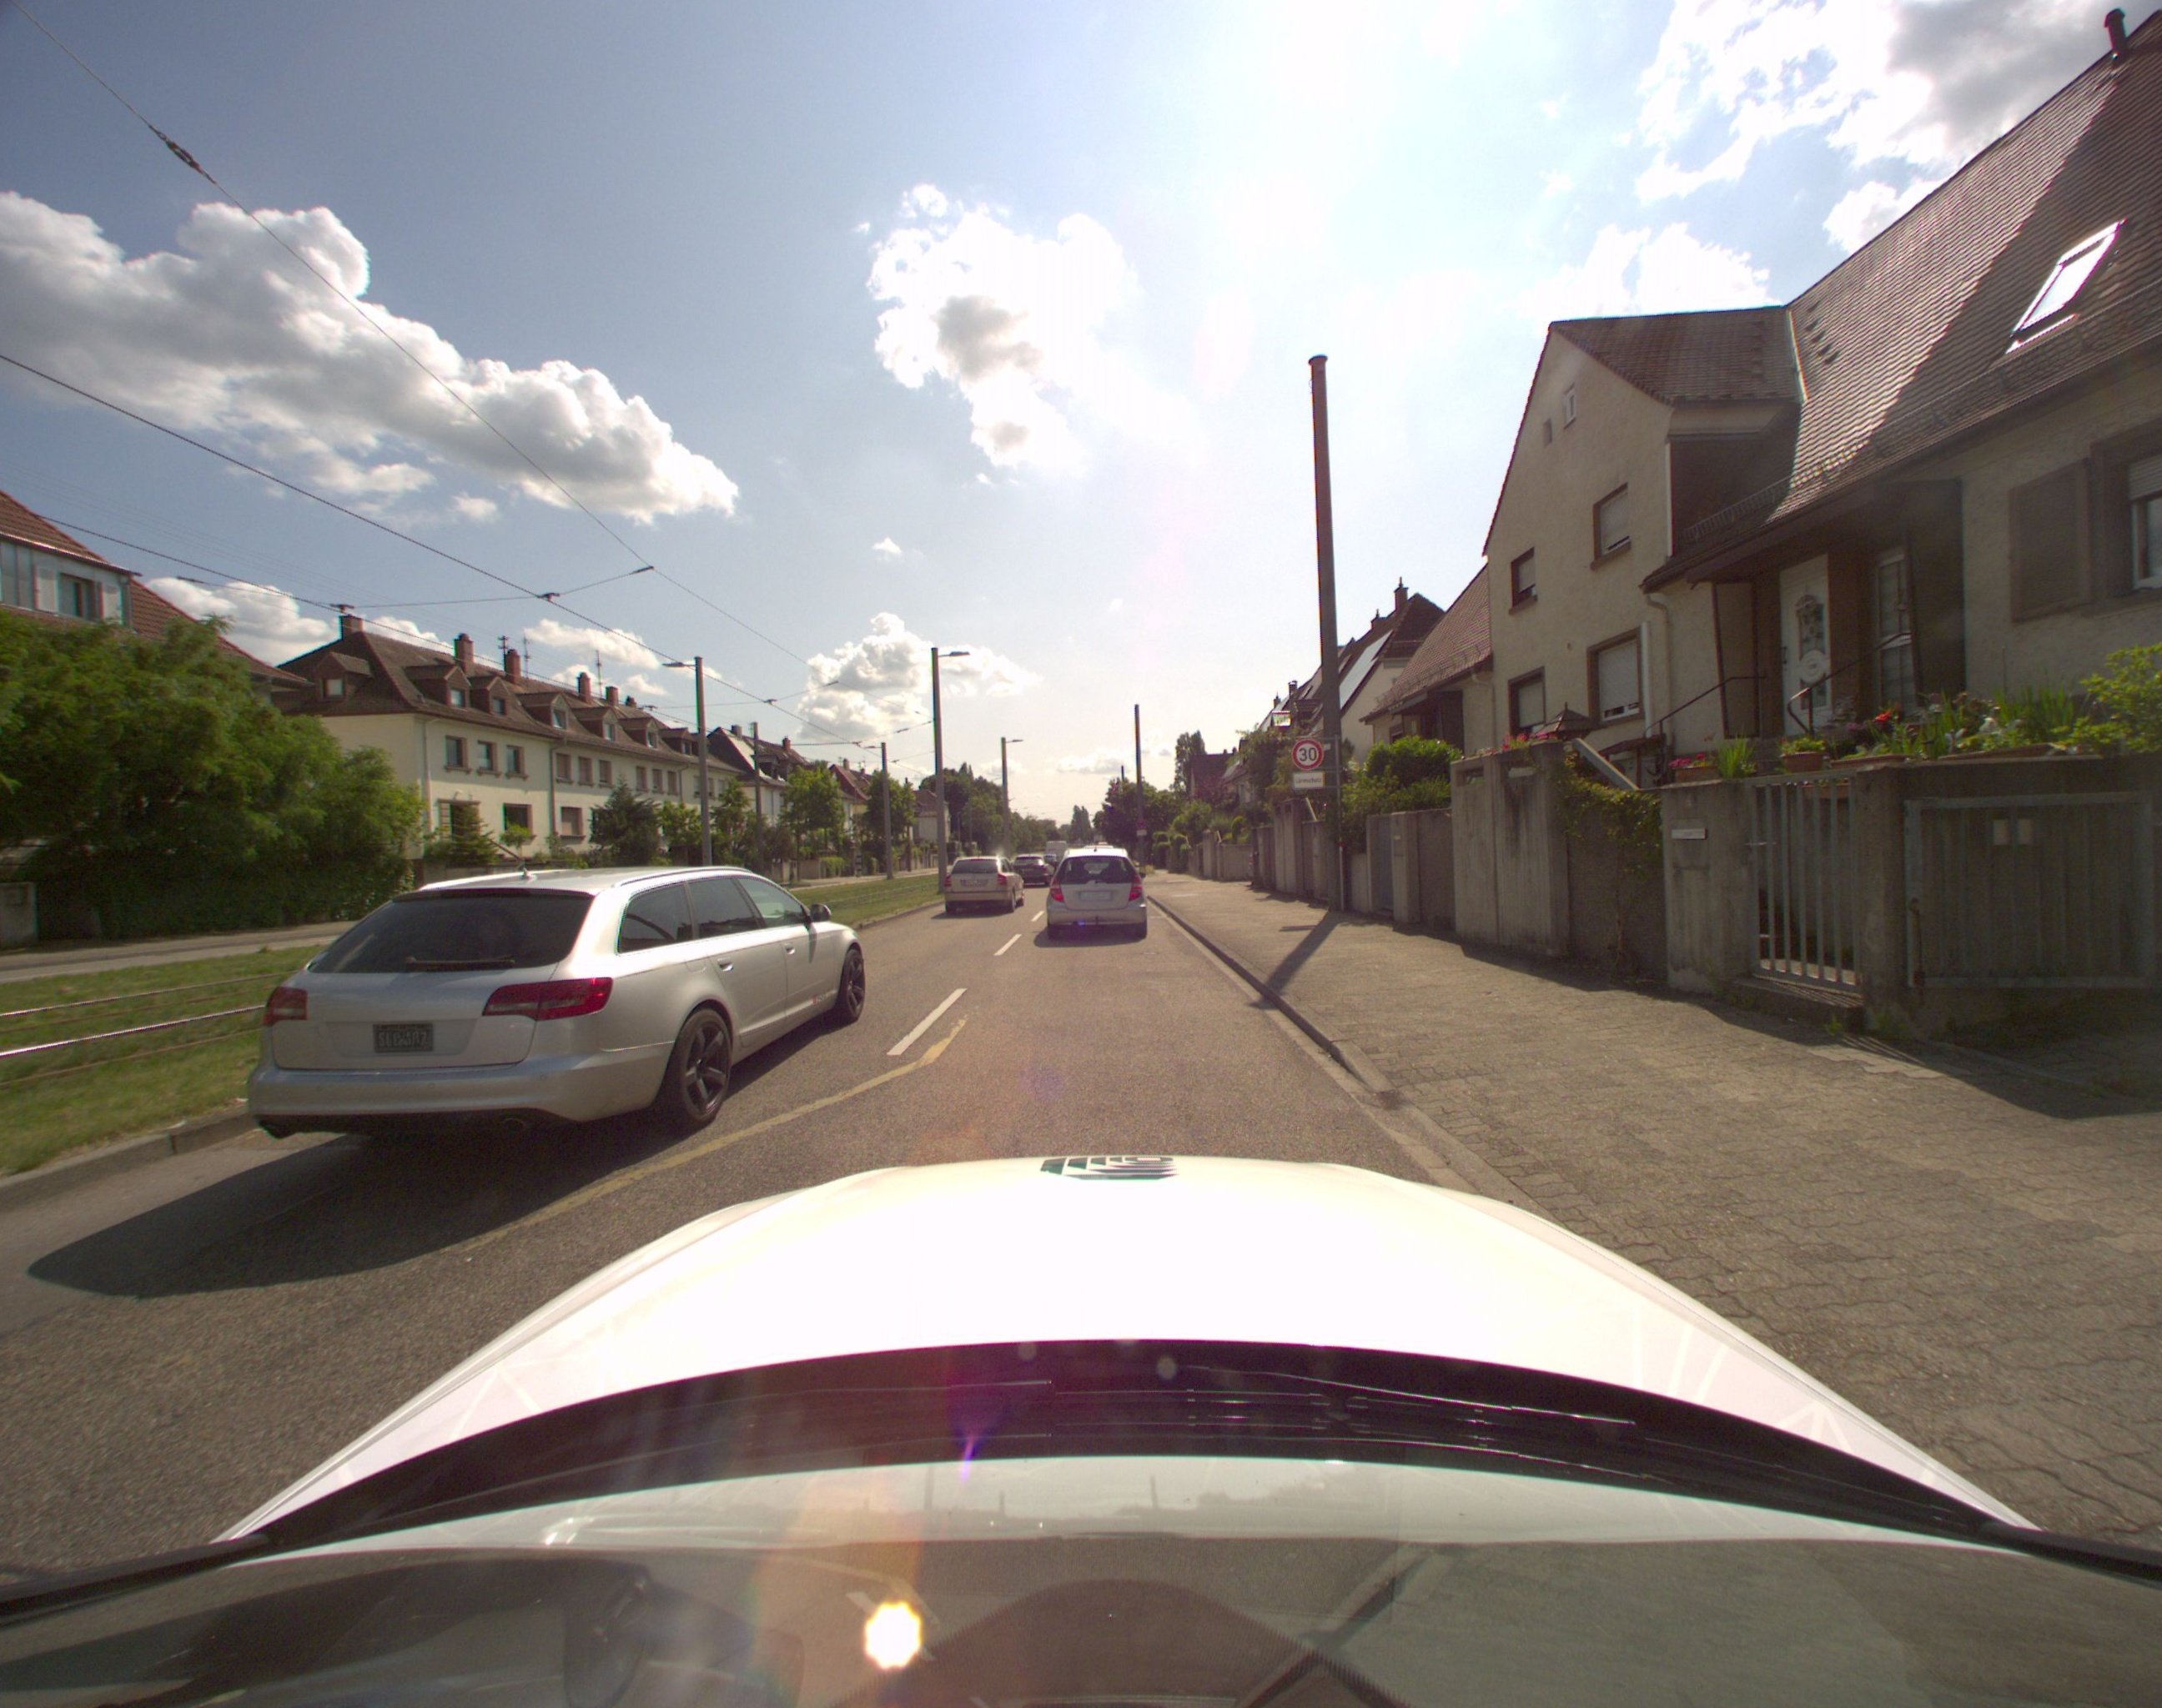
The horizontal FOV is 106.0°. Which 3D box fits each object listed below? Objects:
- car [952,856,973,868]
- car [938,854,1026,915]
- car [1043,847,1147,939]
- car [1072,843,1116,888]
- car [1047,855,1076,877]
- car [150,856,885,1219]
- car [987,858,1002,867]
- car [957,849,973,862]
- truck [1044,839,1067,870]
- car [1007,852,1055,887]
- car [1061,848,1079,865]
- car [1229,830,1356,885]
[{"bbox_3d":[-15.946,1.028,110.168,1.908,1.477,4.566,-1,0,3],"label":"car"},{"bbox_3d":[-2.522,0.730,21.734,1.725,1.449,4.124,-1,0,1],"label":"car"},{"bbox_3d":[0.238,0.648,15.654,1.724,1.517,4.016,-1,0,0],"label":"car"},{"bbox_3d":[0.482,0.453,34.293,1.725,1.762,4.015,-1,0,-1],"label":"car"},{"bbox_3d":[-1.271,0.812,55.215,1.846,1.388,4.513,-1,0,0],"label":"car"},{"bbox_3d":[-2.951,0.783,5.792,1.788,1.472,4.724,-1,0,2],"label":"car"},{"bbox_3d":[-15.466,1.469,145.215,1.908,1.477,4.566,-1,0,3],"label":"car"},{"bbox_3d":[-20.473,0.234,143.862,1.908,2.330,4.566,-1,0,3],"label":"car"},{"bbox_3d":[-2.188,0.030,71.340,1.846,2.552,5.853,-1,0,0],"label":"truck"},{"bbox_3d":[-2.253,0.672,37.701,1.910,1.477,4.562,-1,0,0],"label":"car"},{"bbox_3d":[-1.344,0.280,103.629,1.908,2.077,4.566,-1,0,3],"label":"car"},{"bbox_3d":[7.609,0.113,29.584,3.977,1.684,1.998,-3,0,-3],"label":"car"}]
